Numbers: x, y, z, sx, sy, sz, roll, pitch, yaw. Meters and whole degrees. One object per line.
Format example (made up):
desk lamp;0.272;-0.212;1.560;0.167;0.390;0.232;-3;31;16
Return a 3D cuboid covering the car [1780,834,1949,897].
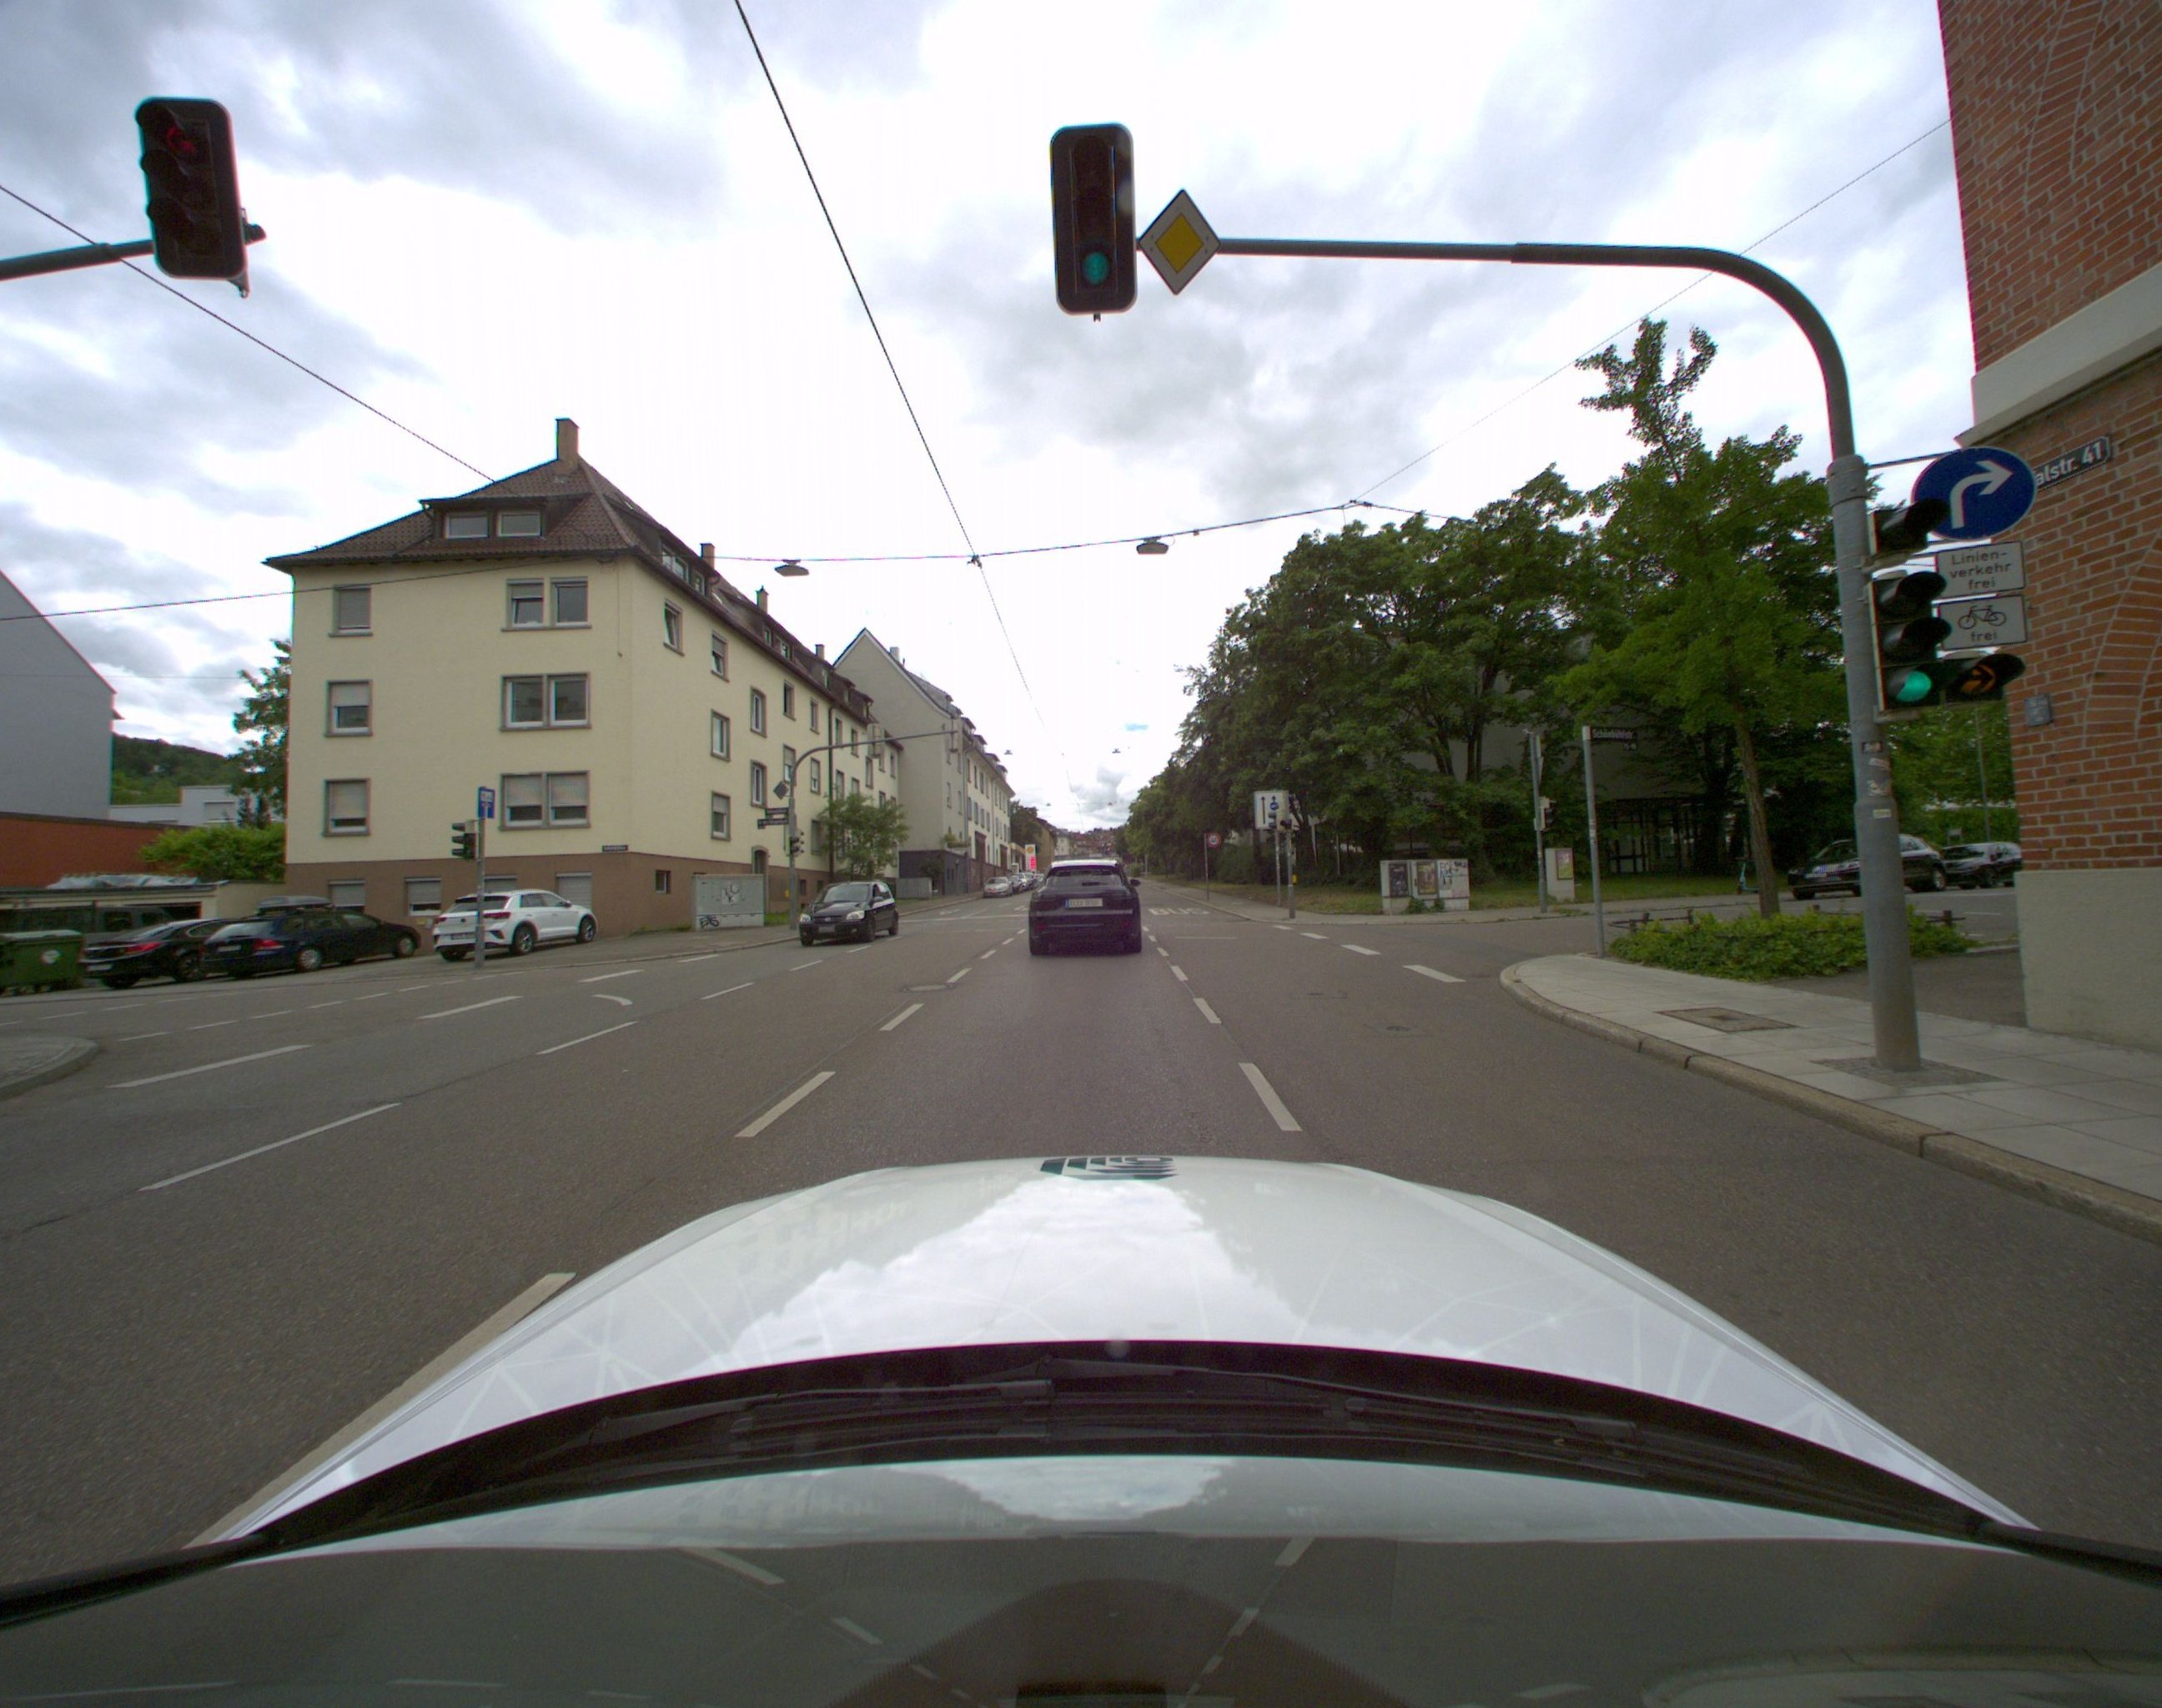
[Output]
car;22.436;0.337;23.350;4.091;1.604;1.933;0;-4;-23

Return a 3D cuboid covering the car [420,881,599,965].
car;-14.023;1.612;20.306;1.666;1.662;3.996;-4;0;-3

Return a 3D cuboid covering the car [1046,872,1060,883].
car;-3.855;3.205;112.367;1.664;1.362;3.999;-1;0;0

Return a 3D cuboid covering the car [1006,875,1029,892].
car;-5.392;2.493;69.439;1.664;1.362;3.999;-1;0;0

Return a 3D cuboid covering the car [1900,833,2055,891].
car;27.875;0.255;25.339;4.003;1.604;1.933;0;-4;-23

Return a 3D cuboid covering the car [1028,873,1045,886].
car;-5.160;2.912;94.556;1.664;1.362;3.999;-1;0;0

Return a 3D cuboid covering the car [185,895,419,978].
car;-19.009;1.937;20.184;1.664;1.546;4.103;-5;0;2

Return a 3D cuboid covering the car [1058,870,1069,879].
car;-2.979;3.438;138.565;1.664;1.362;3.999;-1;0;0

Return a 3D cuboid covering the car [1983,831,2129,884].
car;32.646;0.127;27.272;4.003;1.604;1.933;0;-4;-23

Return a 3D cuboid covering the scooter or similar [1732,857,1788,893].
scooter or similar;22.837;0.688;27.394;1.765;1.177;0.528;0;-1;-15

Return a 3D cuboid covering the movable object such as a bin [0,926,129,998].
movable object such as a bin;-24.760;2.538;19.481;1.415;1.429;2.155;-1;0;2

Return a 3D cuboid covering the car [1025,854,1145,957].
car;0.130;0.866;15.549;1.986;1.697;4.001;-1;0;2

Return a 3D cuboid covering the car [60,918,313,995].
car;-21.496;2.403;19.857;1.663;1.362;4.001;-1;0;2

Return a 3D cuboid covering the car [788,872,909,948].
car;-5.602;1.297;20.112;1.657;1.519;3.742;-5;-1;2

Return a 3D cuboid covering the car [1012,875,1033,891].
car;-5.328;2.622;74.562;1.664;1.362;3.999;-1;0;0

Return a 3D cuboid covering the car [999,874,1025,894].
car;-5.370;2.297;63.461;1.664;1.362;3.999;-1;0;0

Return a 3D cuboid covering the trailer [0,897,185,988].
trailer;-26.181;2.158;20.058;2.220;1.928;5.293;-1;0;3

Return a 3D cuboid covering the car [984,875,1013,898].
car;-5.629;2.205;55.962;1.665;1.362;3.998;-1;0;-1
